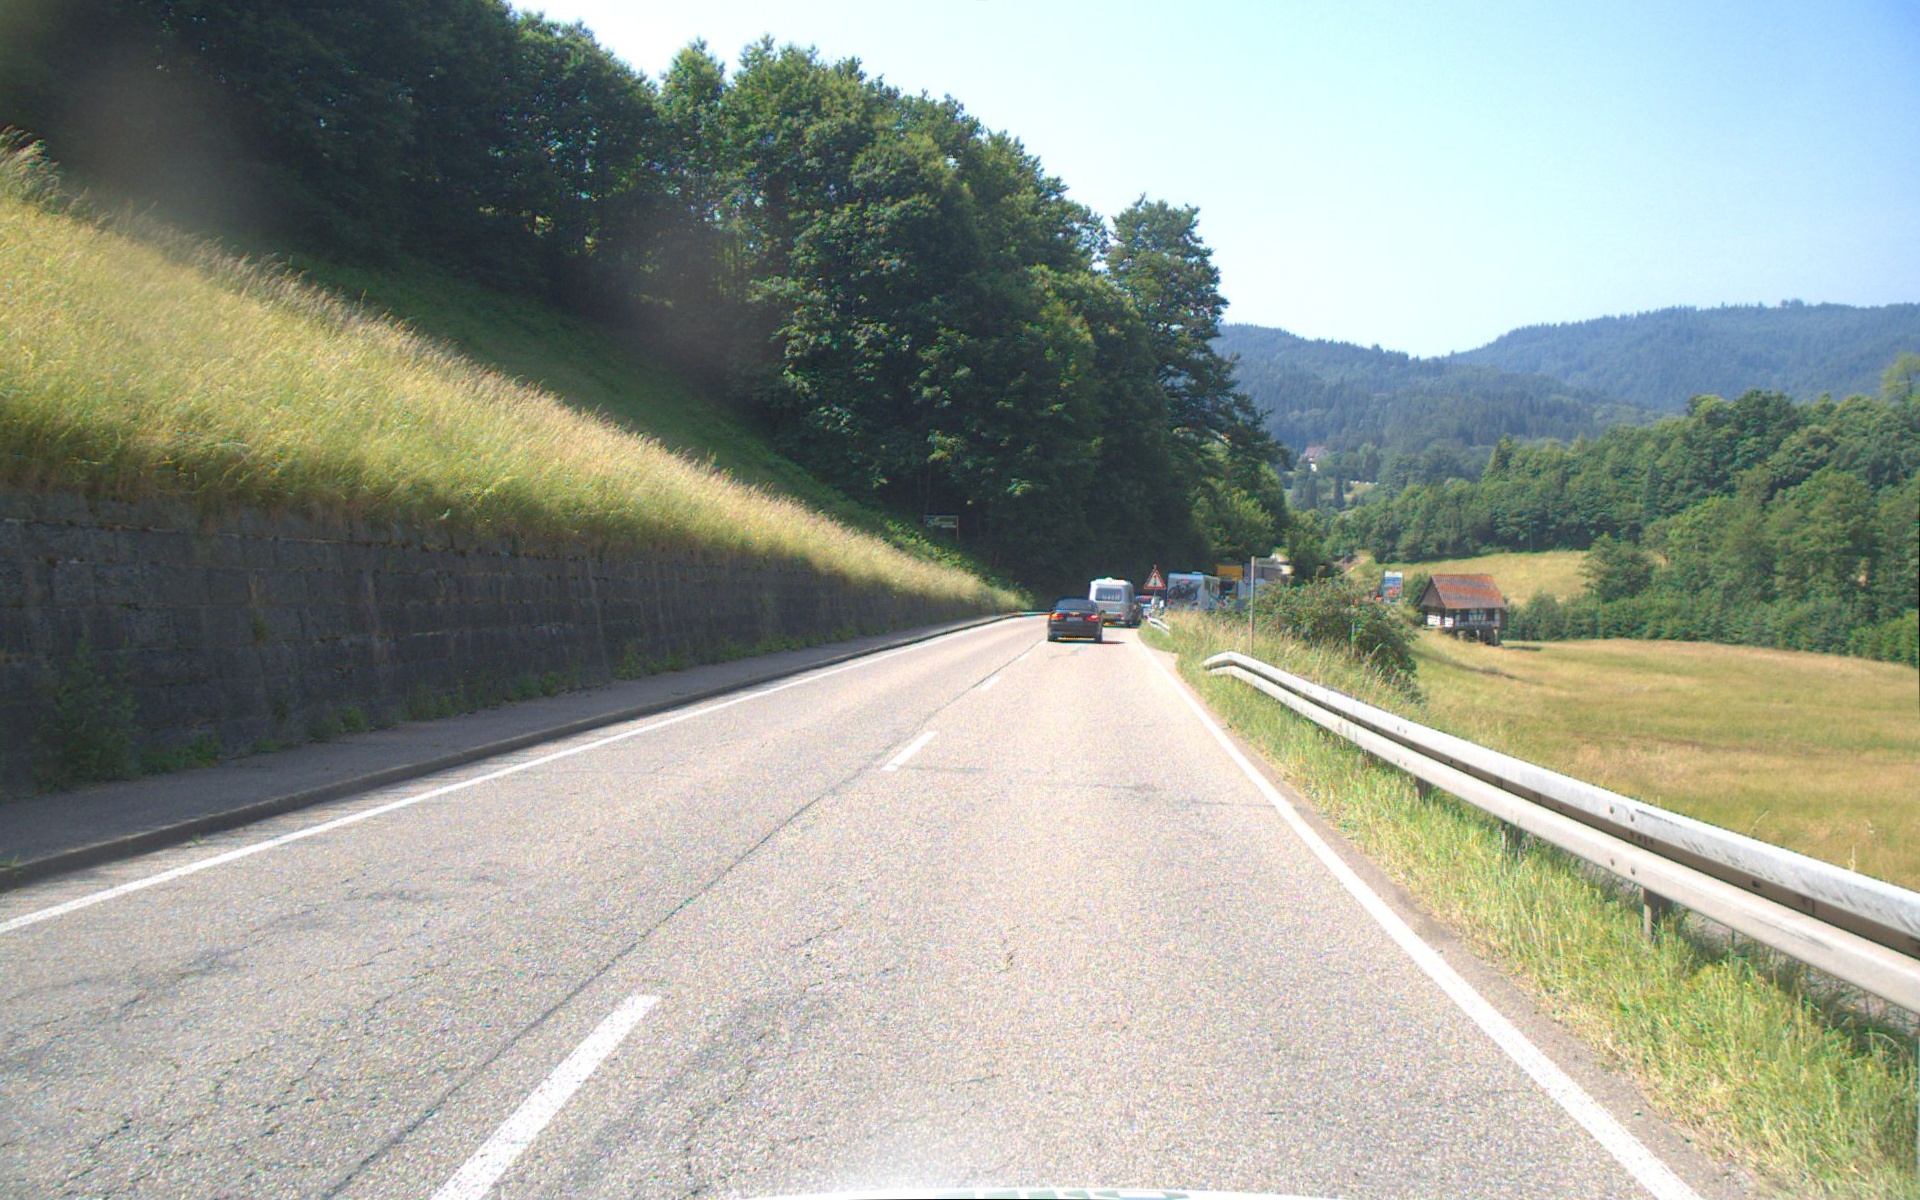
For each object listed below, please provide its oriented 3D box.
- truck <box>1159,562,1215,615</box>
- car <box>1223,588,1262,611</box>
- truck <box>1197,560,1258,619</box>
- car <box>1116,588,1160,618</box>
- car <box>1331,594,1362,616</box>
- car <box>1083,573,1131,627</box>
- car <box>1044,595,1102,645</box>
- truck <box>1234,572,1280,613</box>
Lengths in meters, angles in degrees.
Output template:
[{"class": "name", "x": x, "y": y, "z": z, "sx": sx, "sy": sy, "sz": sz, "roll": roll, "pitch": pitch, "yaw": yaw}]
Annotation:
[{"class": "truck", "x": 14.529, "y": -0.763, "z": 105.469, "sx": 2.732, "sy": 3.049, "sz": 6.874, "roll": 4, "pitch": 2, "yaw": 13}, {"class": "car", "x": 20.559, "y": -0.048, "z": 120.211, "sx": 1.752, "sy": 1.489, "sz": 3.998, "roll": 5, "pitch": 2, "yaw": 24}, {"class": "truck", "x": 21.644, "y": -0.854, "z": 133.591, "sx": 3.125, "sy": 4.472, "sz": 6.568, "roll": 4, "pitch": 2, "yaw": 24}, {"class": "car", "x": 10.093, "y": 0.142, "z": 93.376, "sx": 1.951, "sy": 1.509, "sz": 4.003, "roll": 4, "pitch": 1, "yaw": 12}, {"class": "car", "x": 36.633, "y": 0.450, "z": 156.555, "sx": 1.955, "sy": 1.959, "sz": 3.996, "roll": 4, "pitch": 1, "yaw": 26}, {"class": "car", "x": 7.187, "y": -0.027, "z": 80.460, "sx": 1.951, "sy": 2.393, "sz": 4.919, "roll": 3, "pitch": 2, "yaw": 8}, {"class": "car", "x": 3.643, "y": 0.612, "z": 53.274, "sx": 1.734, "sy": 1.358, "sz": 3.769, "roll": 2, "pitch": 2, "yaw": 4}, {"class": "truck", "x": 22.763, "y": -0.572, "z": 126.644, "sx": 2.192, "sy": 2.852, "sz": 6.231, "roll": 3, "pitch": 0, "yaw": 21}]
